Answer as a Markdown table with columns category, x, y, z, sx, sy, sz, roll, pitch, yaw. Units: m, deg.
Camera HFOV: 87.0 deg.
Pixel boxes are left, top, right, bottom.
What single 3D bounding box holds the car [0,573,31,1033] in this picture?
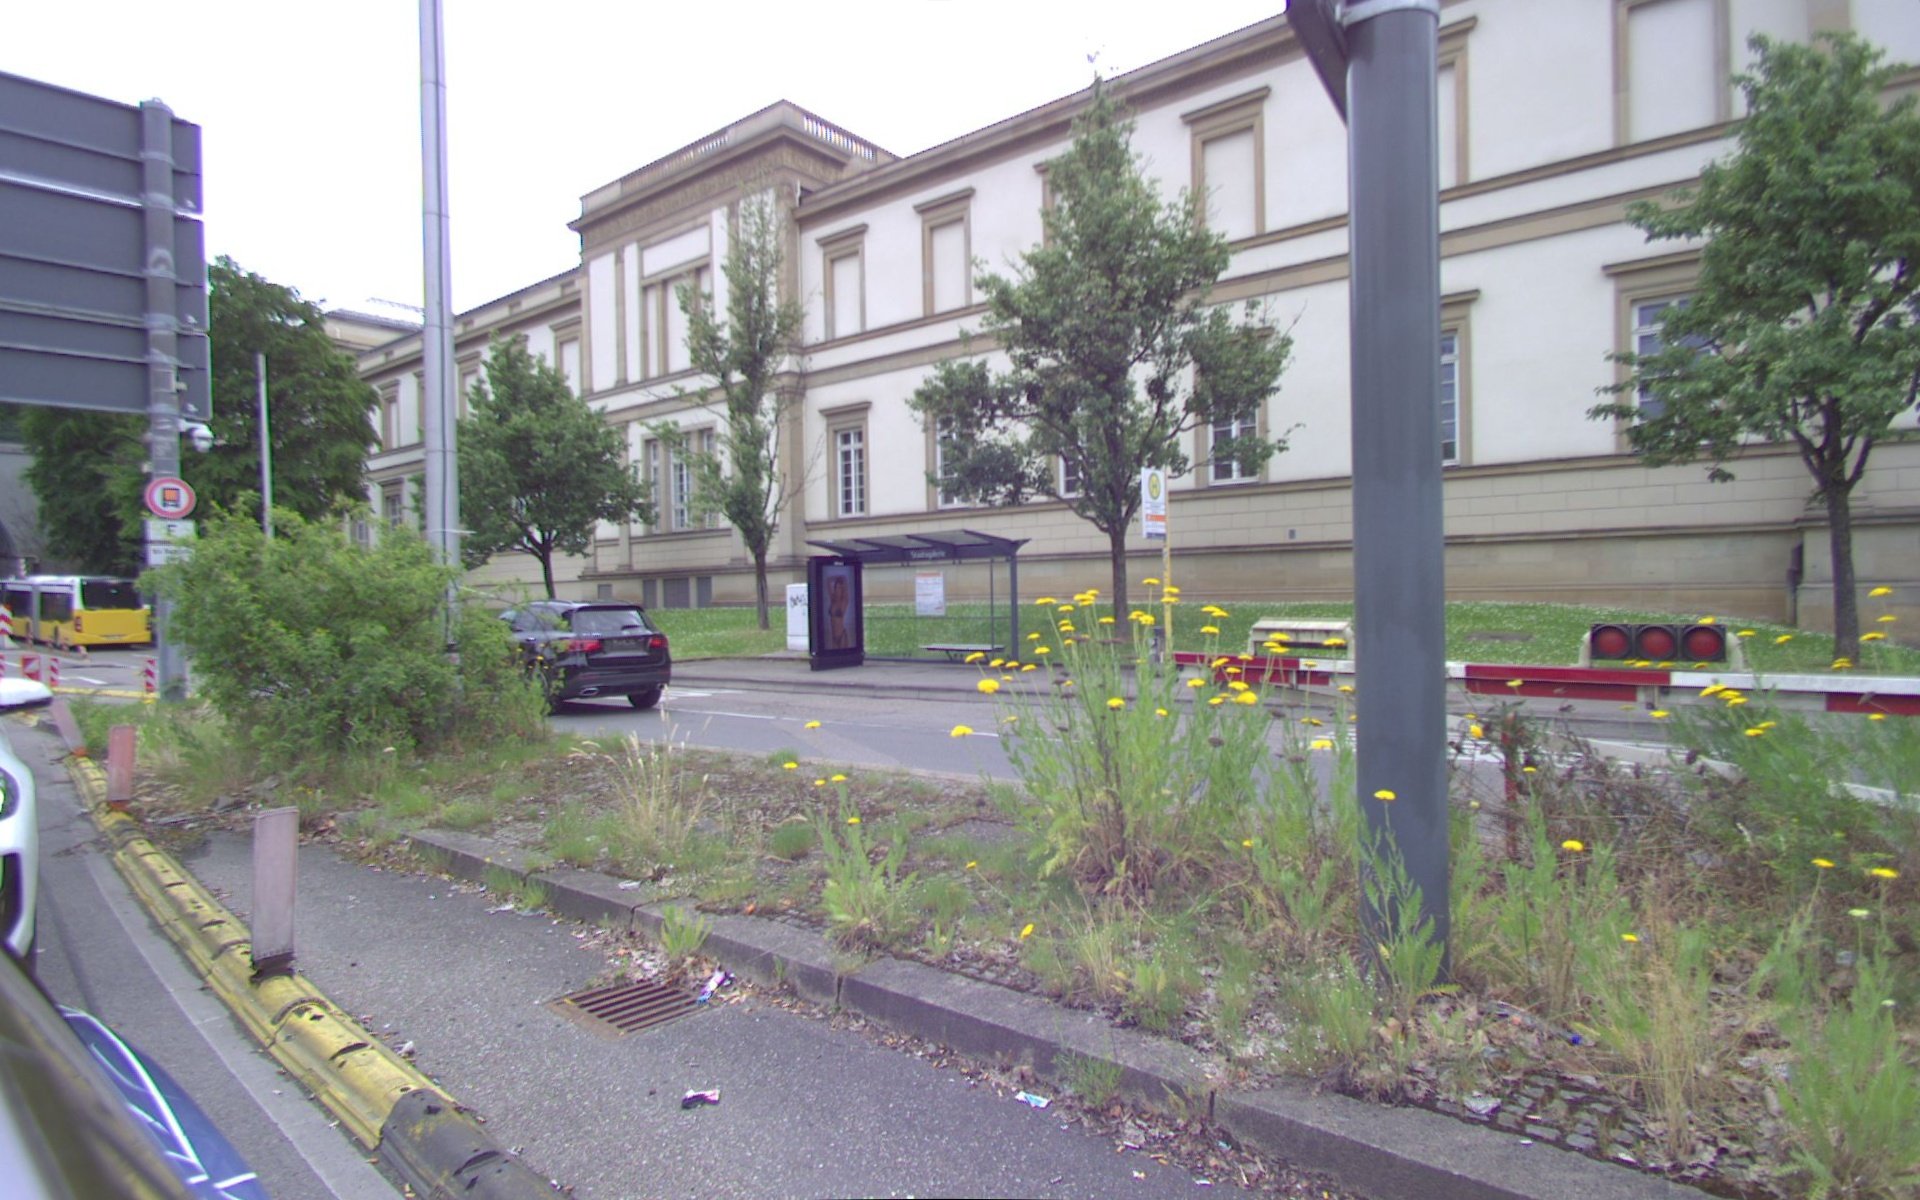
| category | x | y | z | sx | sy | sz | roll | pitch | yaw |
| --- | --- | --- | --- | --- | --- | --- | --- | --- | --- |
| car | -5.236 | 0.718 | 4.201 | 3.911 | 1.568 | 1.733 | -1 | 0 | 43 |

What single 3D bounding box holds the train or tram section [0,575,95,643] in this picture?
| category | x | y | z | sx | sy | sz | roll | pitch | yaw |
| --- | --- | --- | --- | --- | --- | --- | --- | --- | --- |
| train or tram section | -45.596 | 0.503 | 49.862 | 9.363 | 3.094 | 2.668 | -1 | -2 | 38 |

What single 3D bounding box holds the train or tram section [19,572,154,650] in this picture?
| category | x | y | z | sx | sy | sz | roll | pitch | yaw |
| --- | --- | --- | --- | --- | --- | --- | --- | --- | --- |
| train or tram section | -38.211 | 0.560 | 44.109 | 9.323 | 3.094 | 2.668 | -1 | -2 | 38 |

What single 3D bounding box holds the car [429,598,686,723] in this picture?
| category | x | y | z | sx | sy | sz | roll | pitch | yaw |
| --- | --- | --- | --- | --- | --- | --- | --- | --- | --- |
| car | -6.280 | 0.826 | 15.561 | 4.368 | 1.638 | 1.861 | -1 | 0 | 40 |
